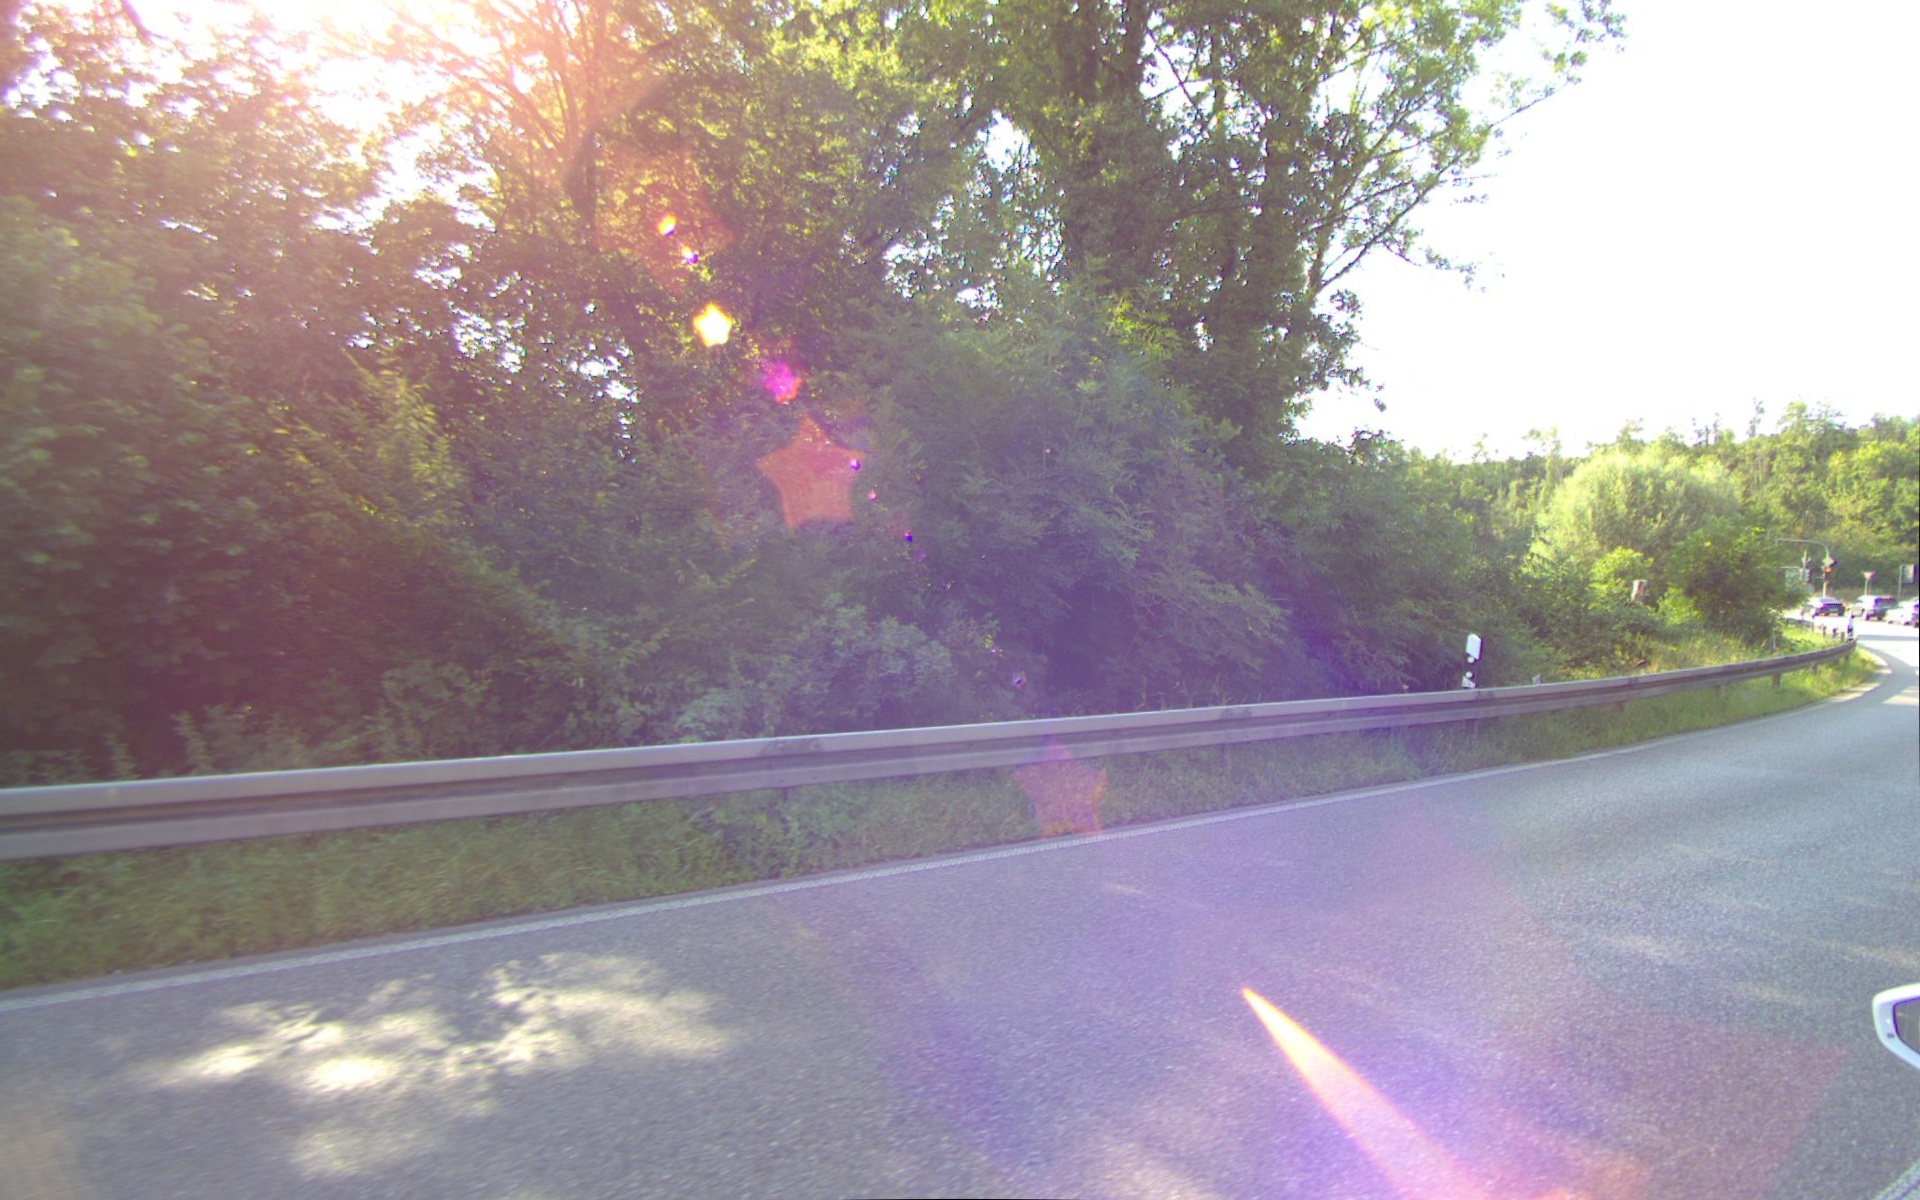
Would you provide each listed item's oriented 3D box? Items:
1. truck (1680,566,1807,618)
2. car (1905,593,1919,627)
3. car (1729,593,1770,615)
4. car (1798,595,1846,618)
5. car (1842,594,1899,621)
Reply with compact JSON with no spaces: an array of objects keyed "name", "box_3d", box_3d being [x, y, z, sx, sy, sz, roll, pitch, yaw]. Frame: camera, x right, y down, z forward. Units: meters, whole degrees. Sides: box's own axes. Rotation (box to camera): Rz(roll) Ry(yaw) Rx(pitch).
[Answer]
[{"name":"truck","box_3d":[75.972,-0.784,97.487,10.044,4.647,3.020,2,2,-3]},{"name":"car","box_3d":[54.546,0.572,55.884,1.927,1.876,3.993,0,0,29]},{"name":"car","box_3d":[58.484,0.247,74.461,1.840,1.586,3.992,0,0,30]},{"name":"car","box_3d":[65.455,0.479,76.335,1.839,1.586,3.995,3,2,27]},{"name":"car","box_3d":[61.858,0.472,68.318,1.839,1.616,3.994,3,2,28]}]
